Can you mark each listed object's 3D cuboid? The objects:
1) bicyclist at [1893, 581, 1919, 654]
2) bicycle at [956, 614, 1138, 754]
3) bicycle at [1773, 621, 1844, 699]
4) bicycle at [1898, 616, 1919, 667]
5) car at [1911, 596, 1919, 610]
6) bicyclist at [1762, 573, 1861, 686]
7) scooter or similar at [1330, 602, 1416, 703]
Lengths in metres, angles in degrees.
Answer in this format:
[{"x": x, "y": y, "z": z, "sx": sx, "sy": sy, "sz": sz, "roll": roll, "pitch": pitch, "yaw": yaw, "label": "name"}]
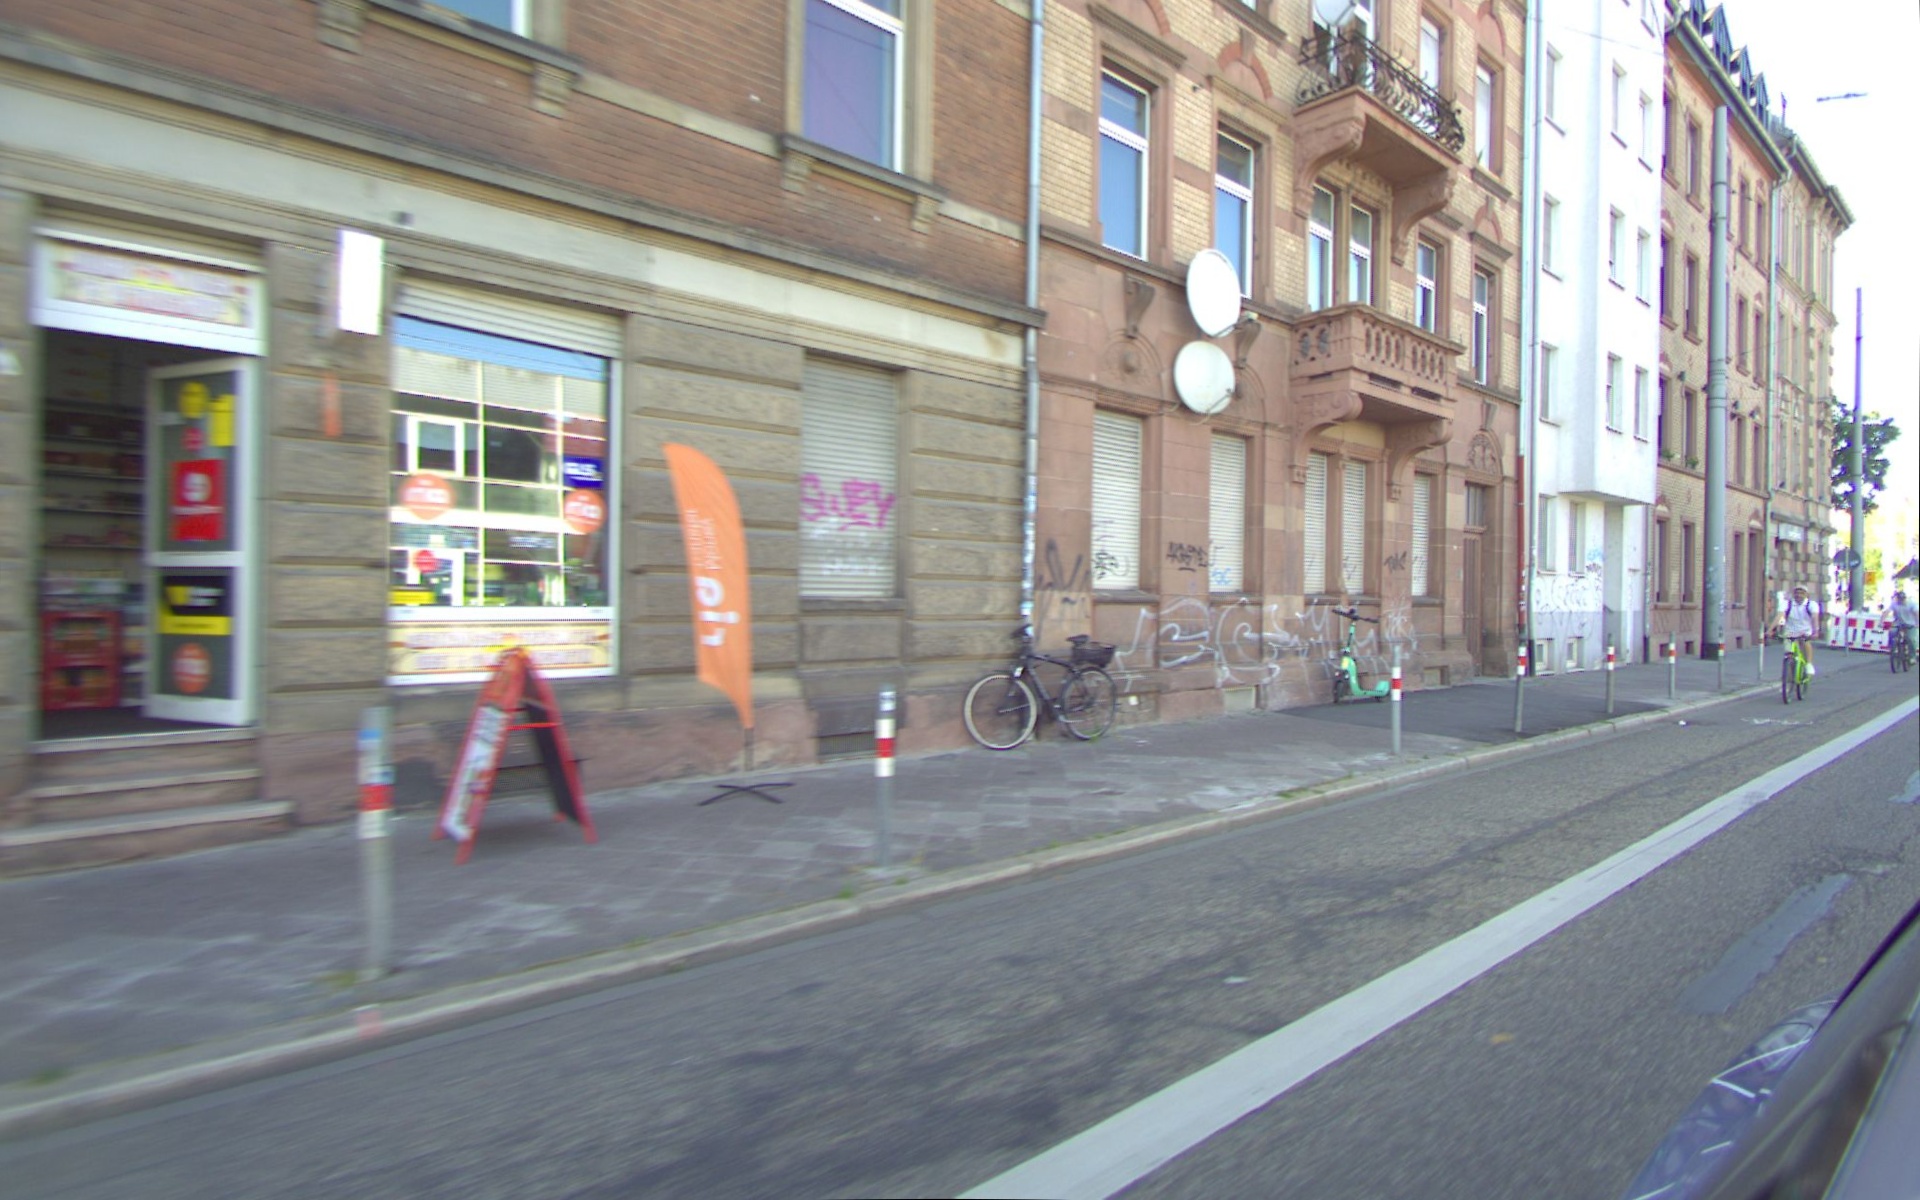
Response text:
[{"x": 21.549, "y": 0.381, "z": 22.724, "sx": 0.870, "sy": 1.613, "sz": 0.784, "roll": 0, "pitch": 0, "yaw": -39, "label": "bicyclist"}, {"x": 0.840, "y": 0.727, "z": 9.329, "sx": 1.862, "sy": 1.135, "sz": 0.411, "roll": -1, "pitch": 2, "yaw": -37, "label": "bicycle"}, {"x": 13.450, "y": 0.921, "z": 16.029, "sx": 1.900, "sy": 1.132, "sz": 0.532, "roll": 0, "pitch": -2, "yaw": -41, "label": "bicycle"}, {"x": 21.540, "y": 0.919, "z": 22.768, "sx": 1.899, "sy": 1.082, "sz": 0.387, "roll": 1, "pitch": 0, "yaw": -39, "label": "bicycle"}, {"x": 100.899, "y": 0.283, "z": 105.014, "sx": 1.904, "sy": 1.477, "sz": 4.624, "roll": -2, "pitch": -1, "yaw": 27, "label": "car"}, {"x": 13.412, "y": 0.450, "z": 15.951, "sx": 1.096, "sy": 1.705, "sz": 0.684, "roll": -1, "pitch": -1, "yaw": -19, "label": "bicyclist"}, {"x": 5.407, "y": 0.657, "z": 13.217, "sx": 1.454, "sy": 1.226, "sz": 0.407, "roll": -1, "pitch": 2, "yaw": -40, "label": "scooter or similar"}]
